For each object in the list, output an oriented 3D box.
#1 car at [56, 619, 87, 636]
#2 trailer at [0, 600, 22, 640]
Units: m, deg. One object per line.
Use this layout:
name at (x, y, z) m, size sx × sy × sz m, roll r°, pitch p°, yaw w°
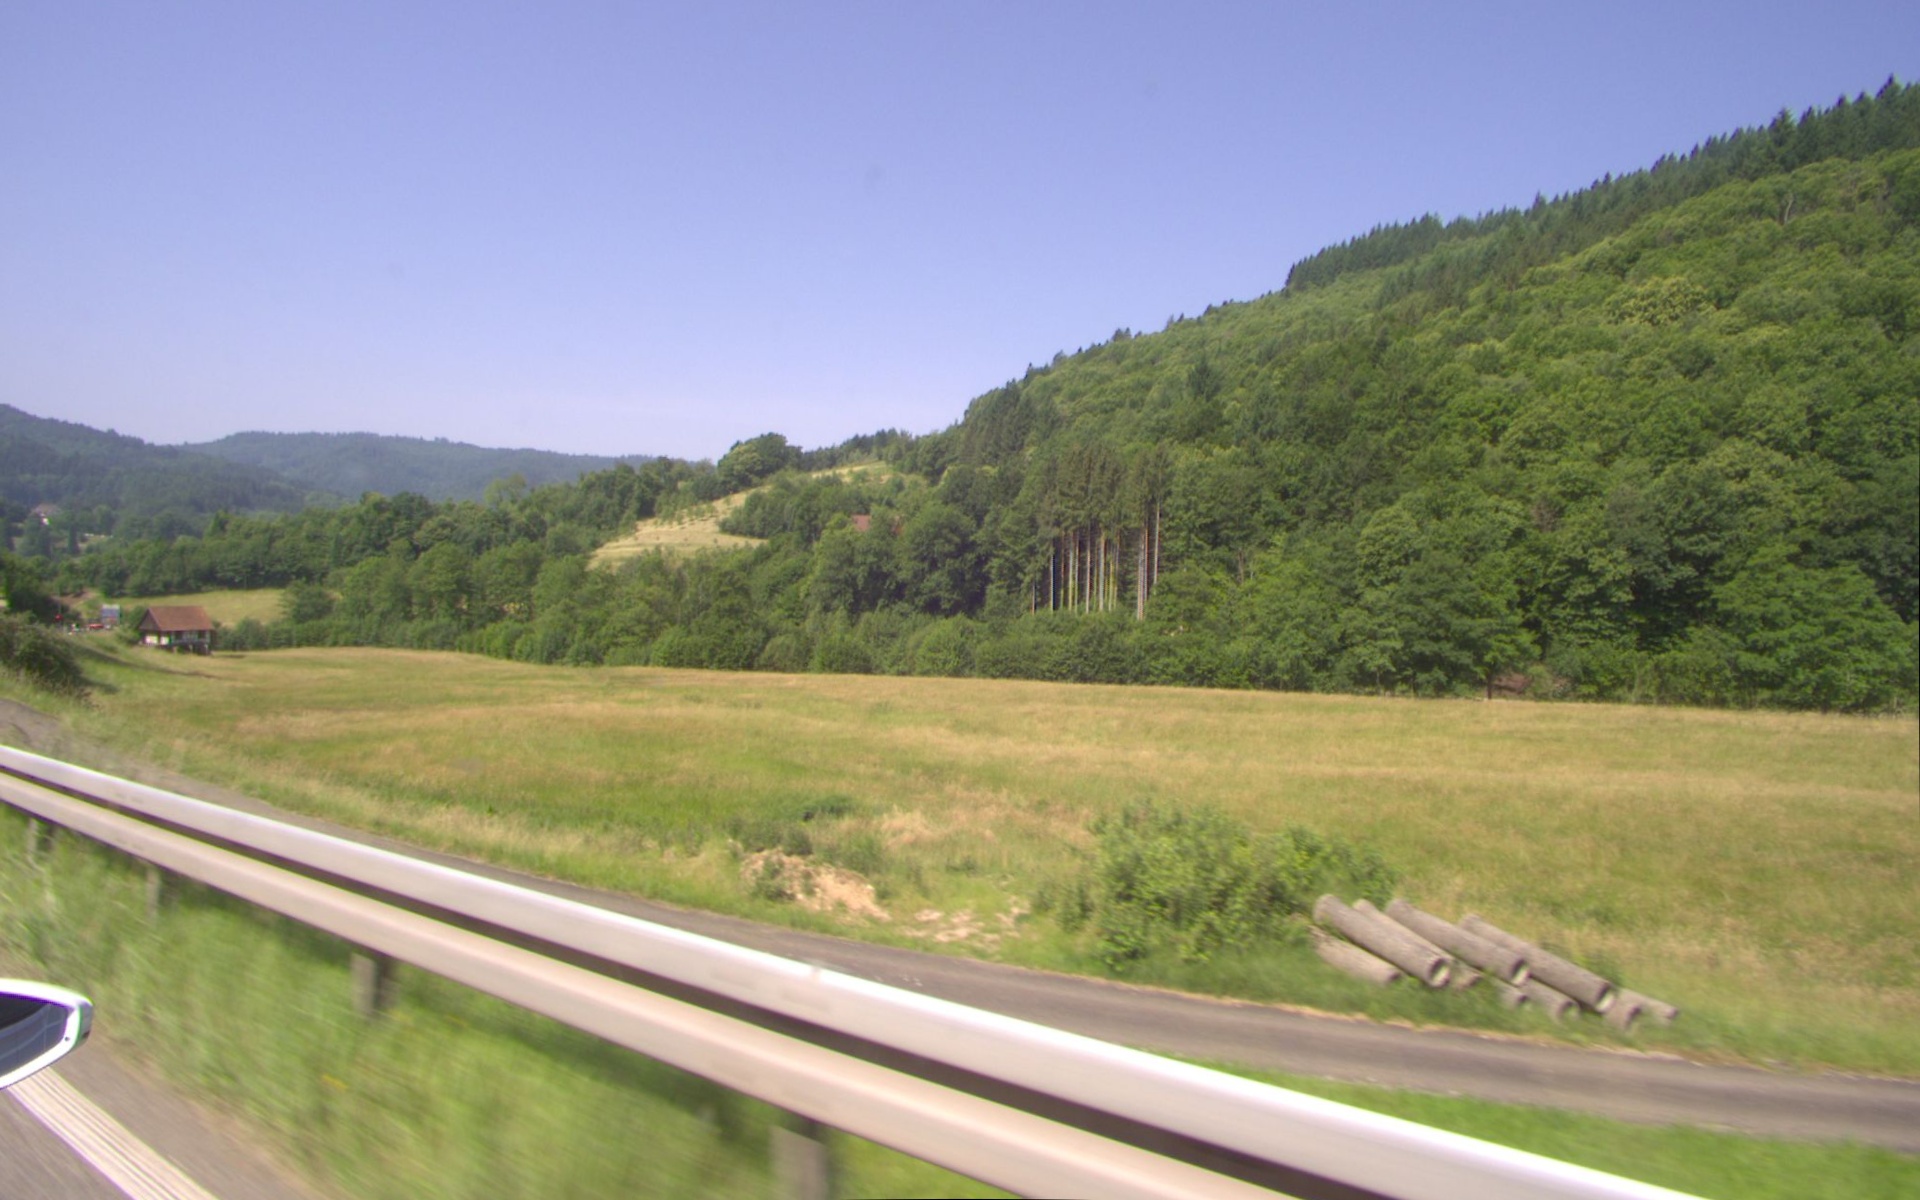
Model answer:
car at (-109.821, 3.419, 123.810) m, size 1.971 × 1.949 × 3.982 m, roll 4°, pitch -3°, yaw -28°
trailer at (-106.152, 2.085, 107.631) m, size 3.221 × 4.473 × 15.256 m, roll 3°, pitch -2°, yaw -26°
